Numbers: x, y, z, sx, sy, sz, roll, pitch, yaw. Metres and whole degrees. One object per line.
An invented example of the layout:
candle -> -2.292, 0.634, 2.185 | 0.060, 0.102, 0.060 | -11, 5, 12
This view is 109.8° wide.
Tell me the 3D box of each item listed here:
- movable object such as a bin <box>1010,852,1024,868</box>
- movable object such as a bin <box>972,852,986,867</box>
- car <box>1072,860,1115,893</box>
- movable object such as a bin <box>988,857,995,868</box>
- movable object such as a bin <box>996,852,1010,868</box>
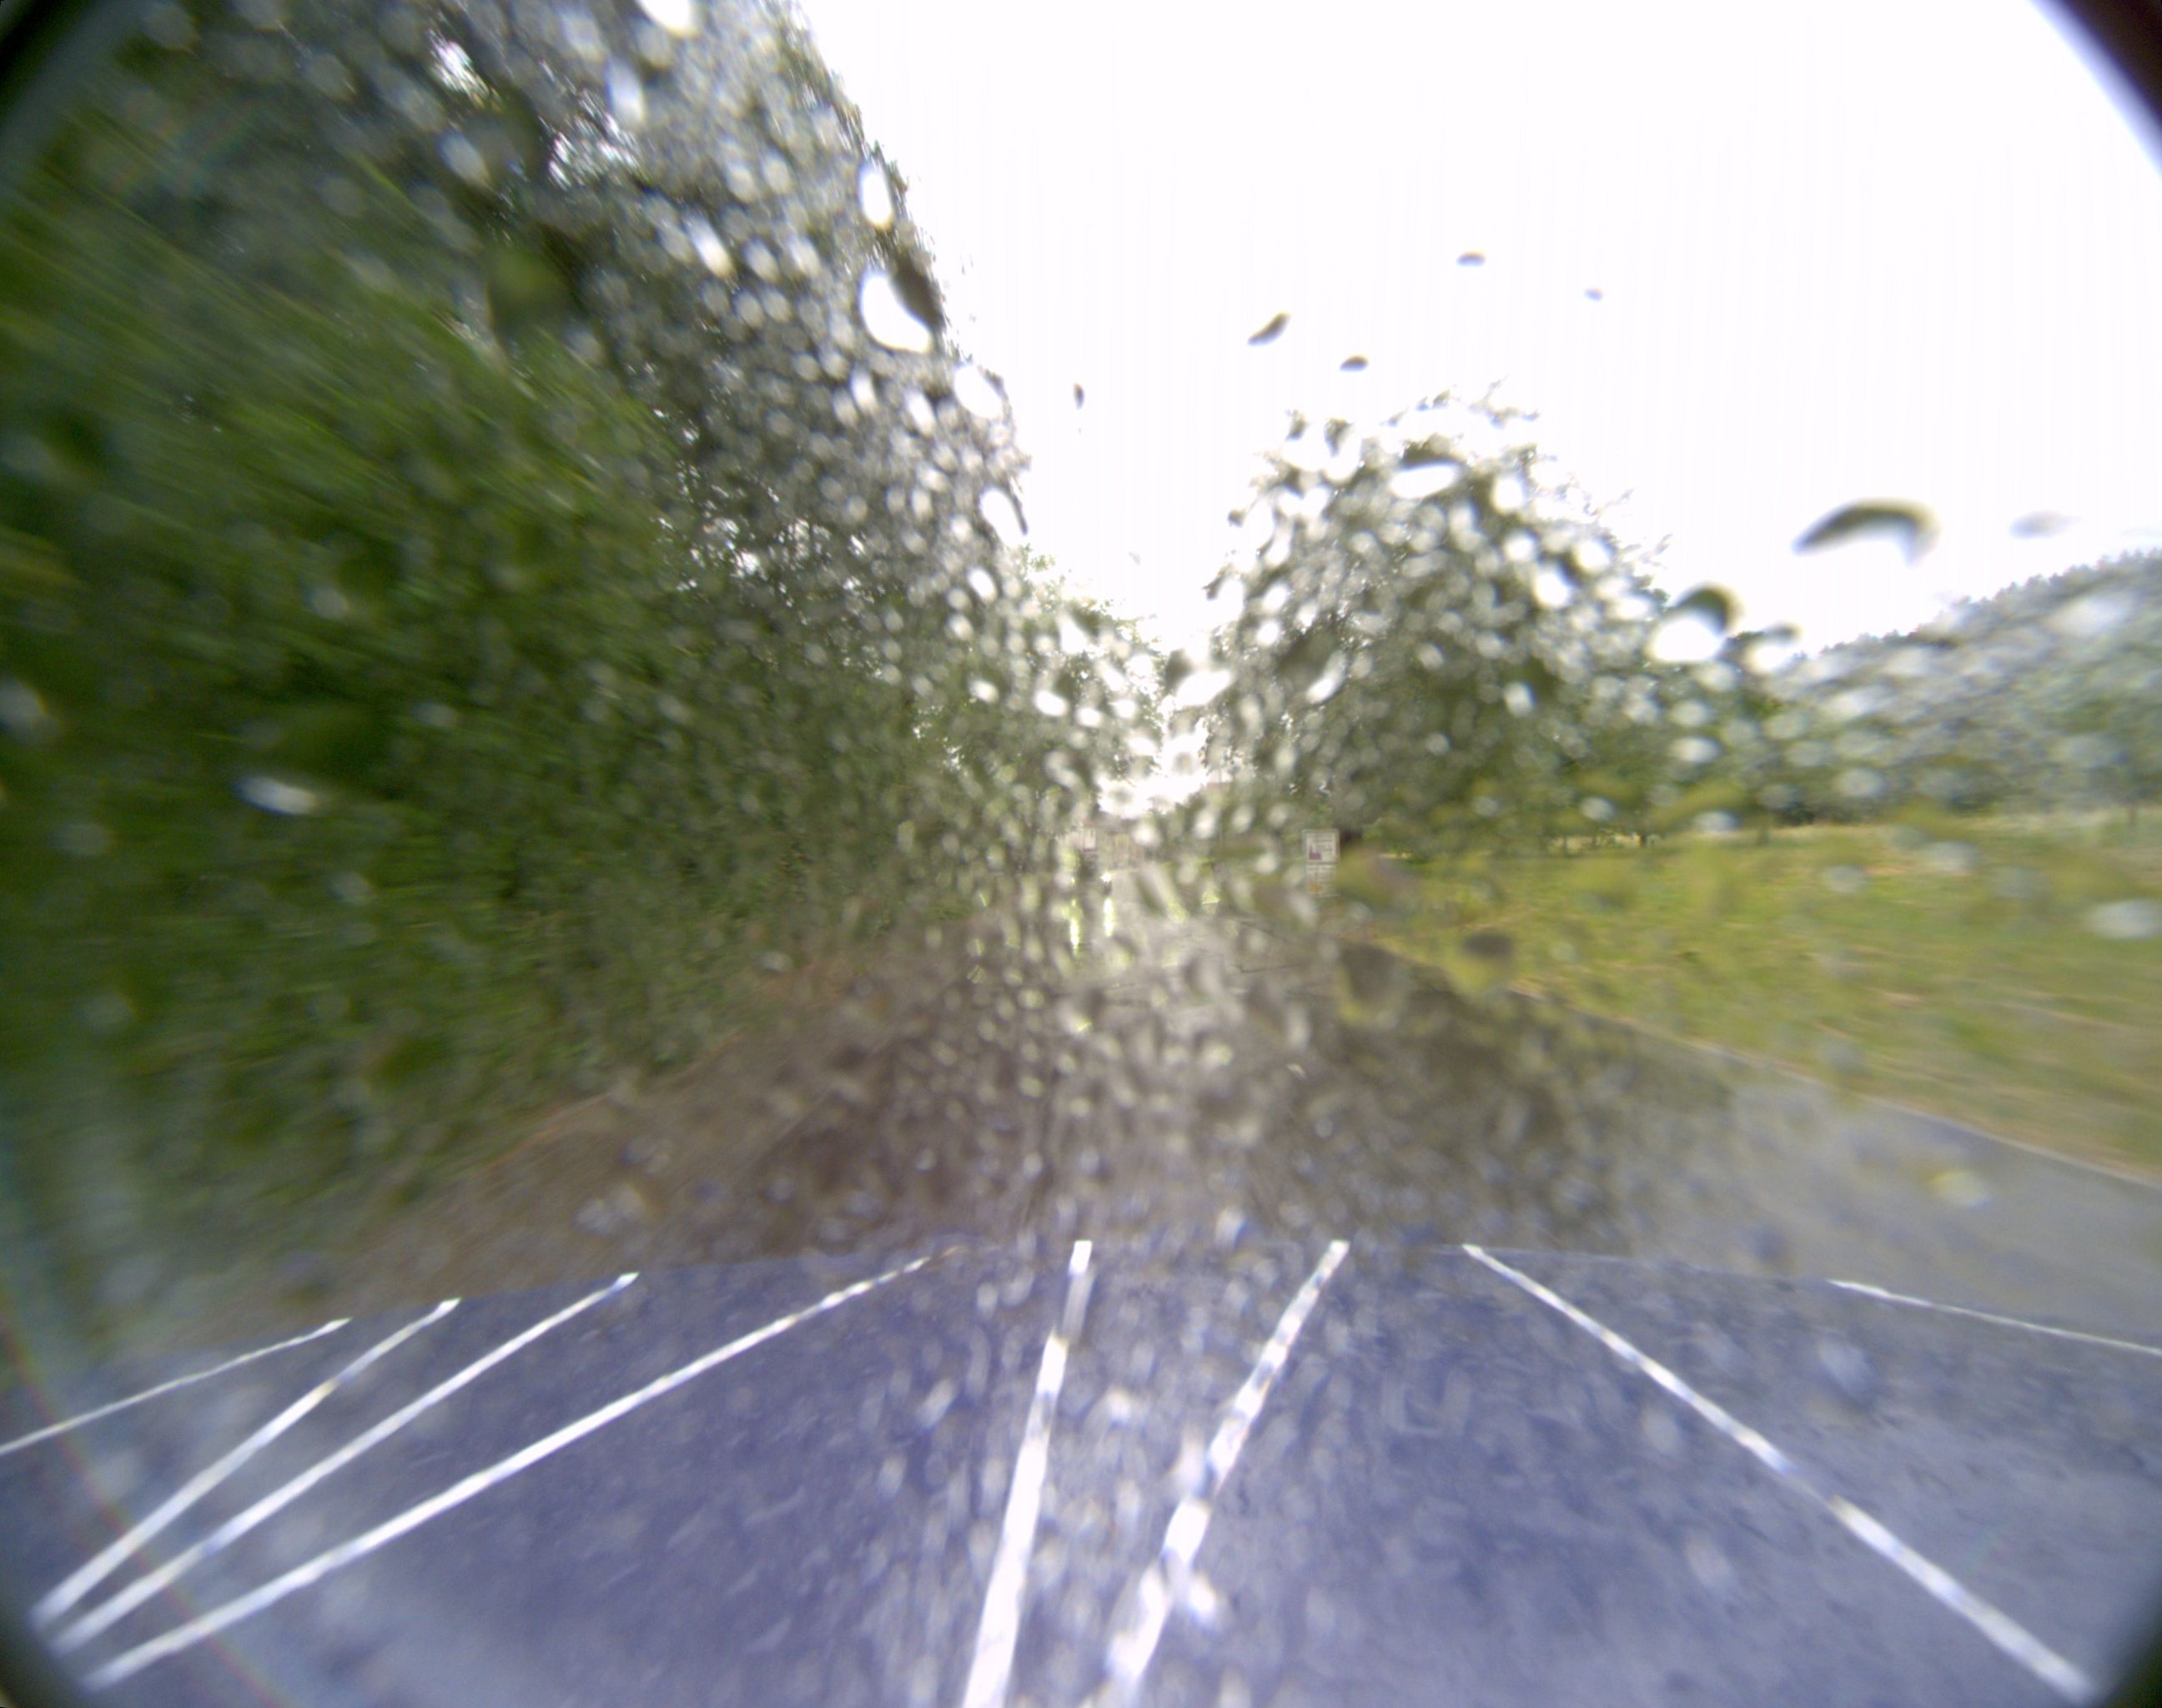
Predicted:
movable object such as a bin -> -6.119, 0.573, 72.453 | 1.296, 1.410, 0.795 | 2, 1, -1
movable object such as a bin -> -9.727, 0.519, 72.405 | 1.151, 1.335, 0.795 | 2, 1, 0
car -> 0.495, 0.944, 33.172 | 1.667, 1.290, 3.518 | -3, -1, -1
movable object such as a bin -> -8.552, 0.801, 72.439 | 0.568, 1.073, 0.530 | 1, 1, -1
movable object such as a bin -> -7.444, 0.578, 72.501 | 1.238, 1.428, 0.795 | 2, 1, -1
